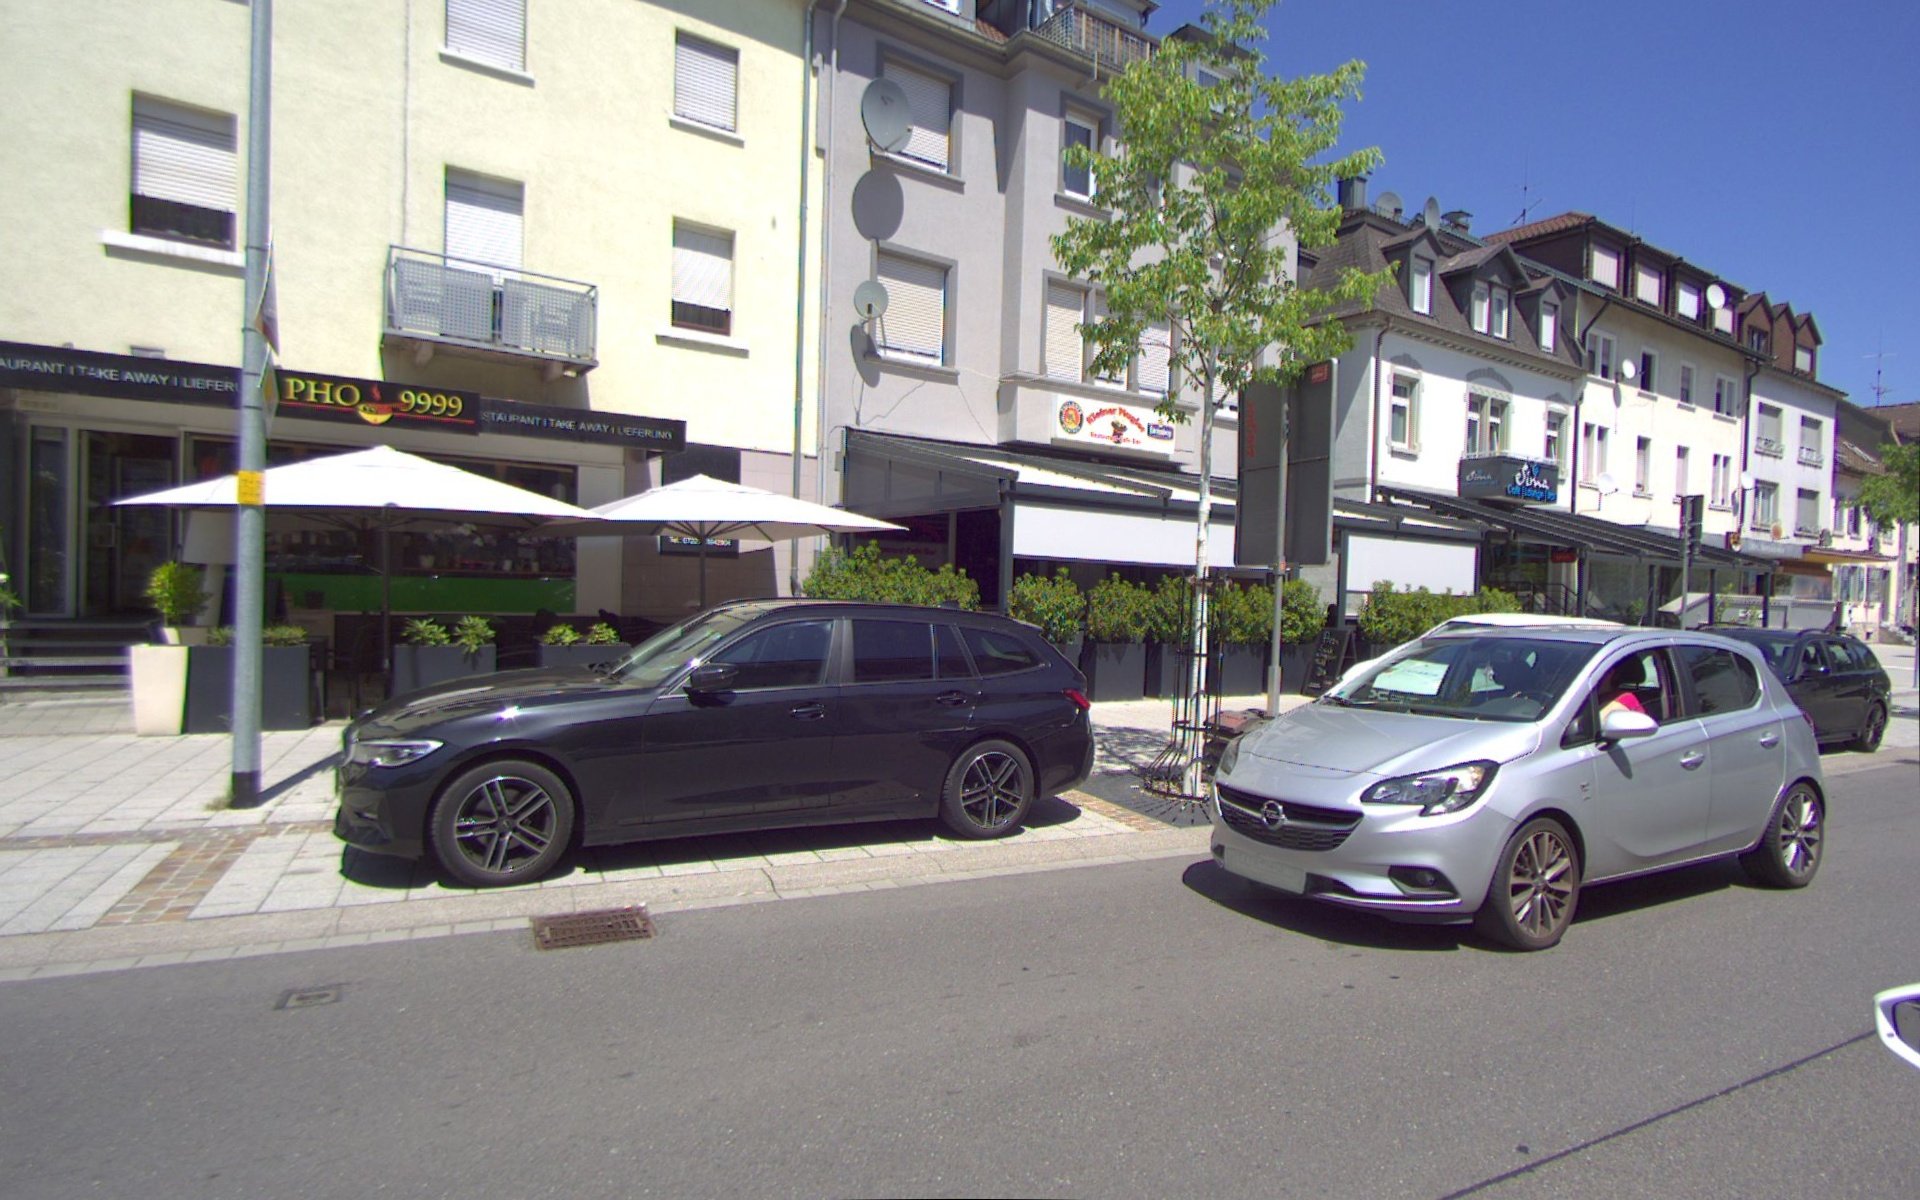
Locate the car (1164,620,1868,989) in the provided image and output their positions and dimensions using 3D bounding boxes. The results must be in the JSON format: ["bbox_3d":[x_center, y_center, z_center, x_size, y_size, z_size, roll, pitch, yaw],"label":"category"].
[{"bbox_3d":[3.271,0.874,5.755,4.009,1.477,1.680,1,-1,-29],"label":"car"}]

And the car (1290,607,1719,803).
[{"bbox_3d":[5.264,0.894,9.677,3.889,1.499,1.639,1,2,-26],"label":"car"}]

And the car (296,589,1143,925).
[{"bbox_3d":[-1.292,0.746,6.410,4.724,1.449,1.826,1,2,-29],"label":"car"}]

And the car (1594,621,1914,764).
[{"bbox_3d":[9.810,1.037,12.366,3.960,1.463,1.663,1,0,-29],"label":"car"}]
